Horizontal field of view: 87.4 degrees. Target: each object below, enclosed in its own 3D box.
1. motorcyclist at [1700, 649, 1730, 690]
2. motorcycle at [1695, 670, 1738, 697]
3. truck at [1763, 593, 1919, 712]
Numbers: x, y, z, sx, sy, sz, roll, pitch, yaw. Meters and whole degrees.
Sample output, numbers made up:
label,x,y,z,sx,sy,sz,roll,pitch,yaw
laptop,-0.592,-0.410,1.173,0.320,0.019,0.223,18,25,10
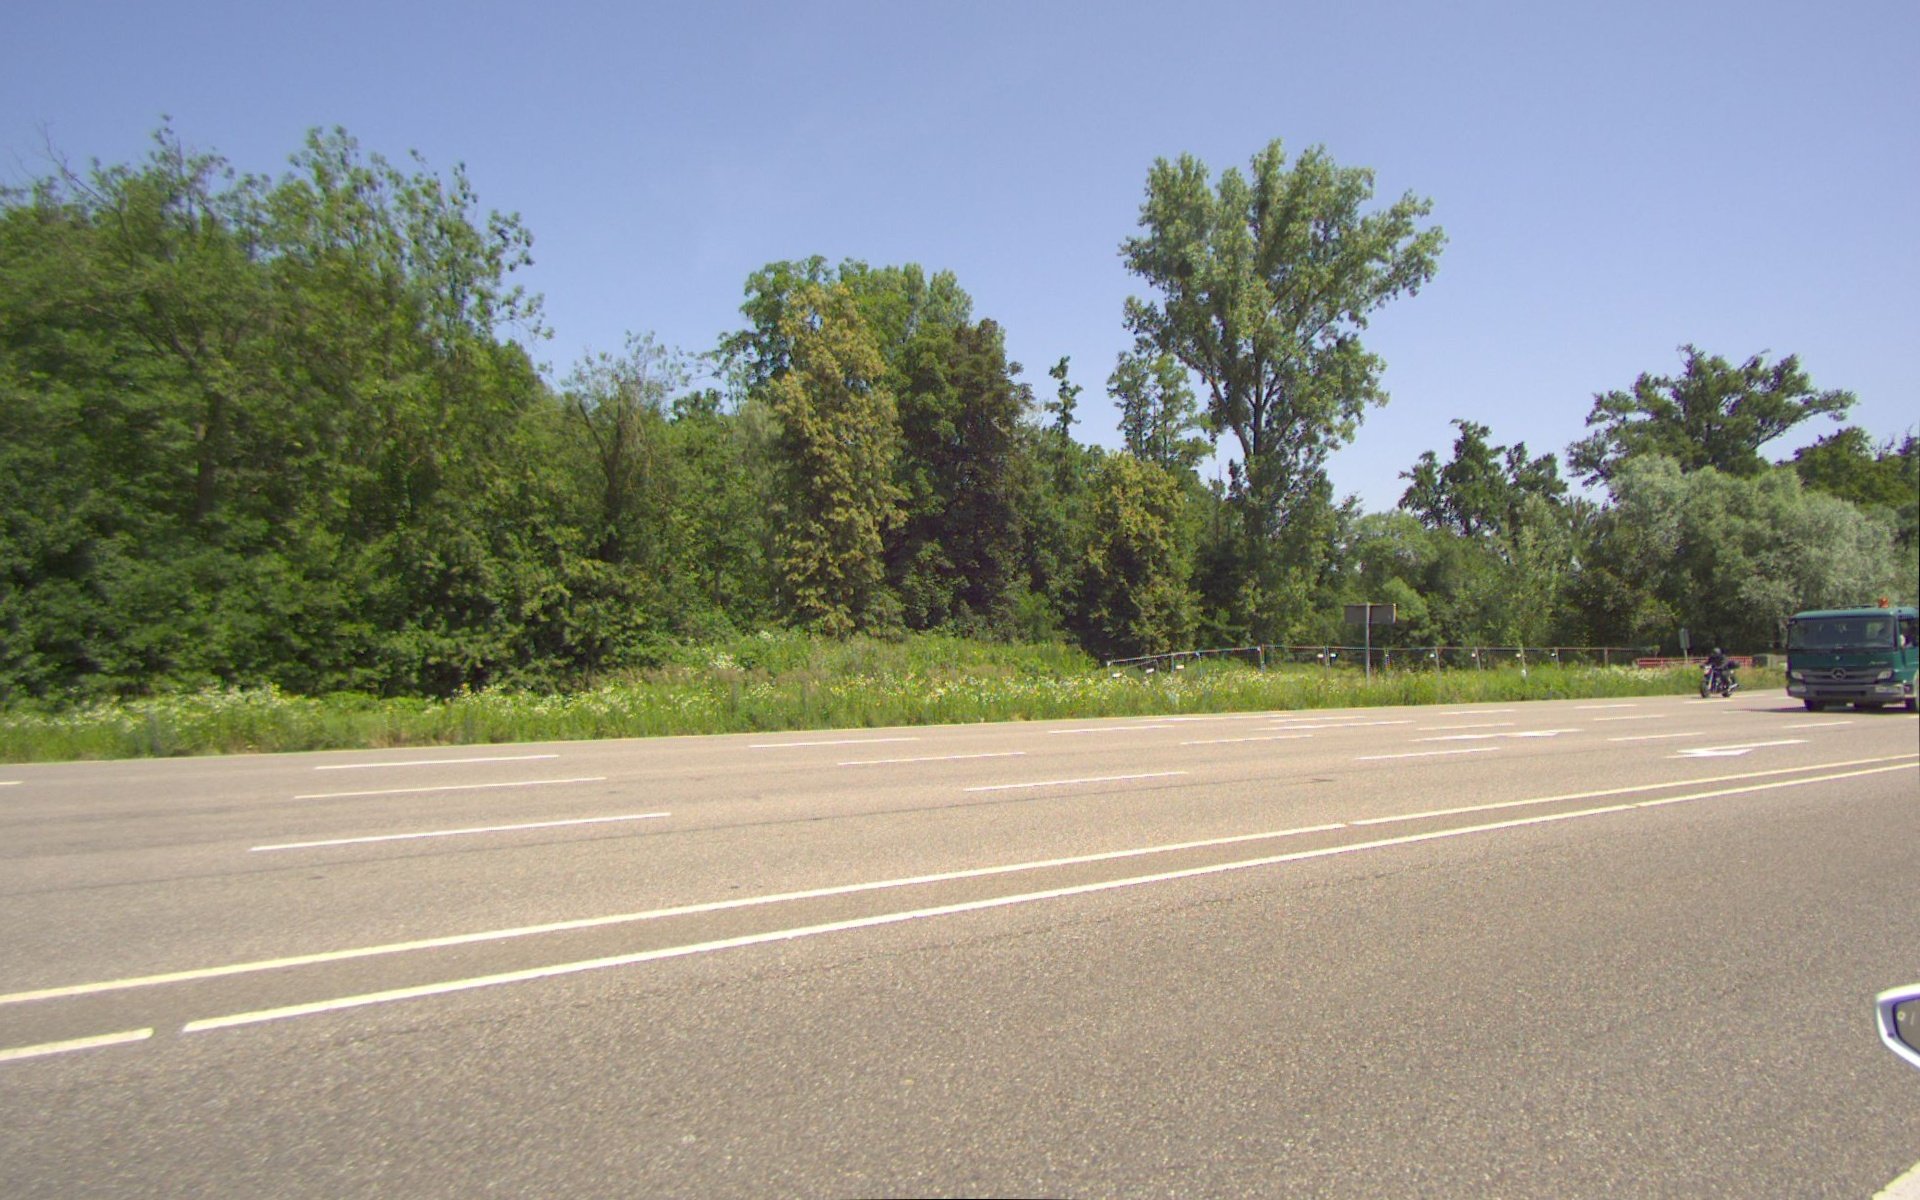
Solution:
label,x,y,z,sx,sy,sz,roll,pitch,yaw
motorcyclist,26.096,2.394,34.711,0.746,1.371,0.574,2,-3,-32
motorcycle,26.111,2.880,34.670,1.889,0.904,0.514,2,-3,-32
truck,23.400,1.342,25.460,6.412,2.690,2.445,1,-5,-29
